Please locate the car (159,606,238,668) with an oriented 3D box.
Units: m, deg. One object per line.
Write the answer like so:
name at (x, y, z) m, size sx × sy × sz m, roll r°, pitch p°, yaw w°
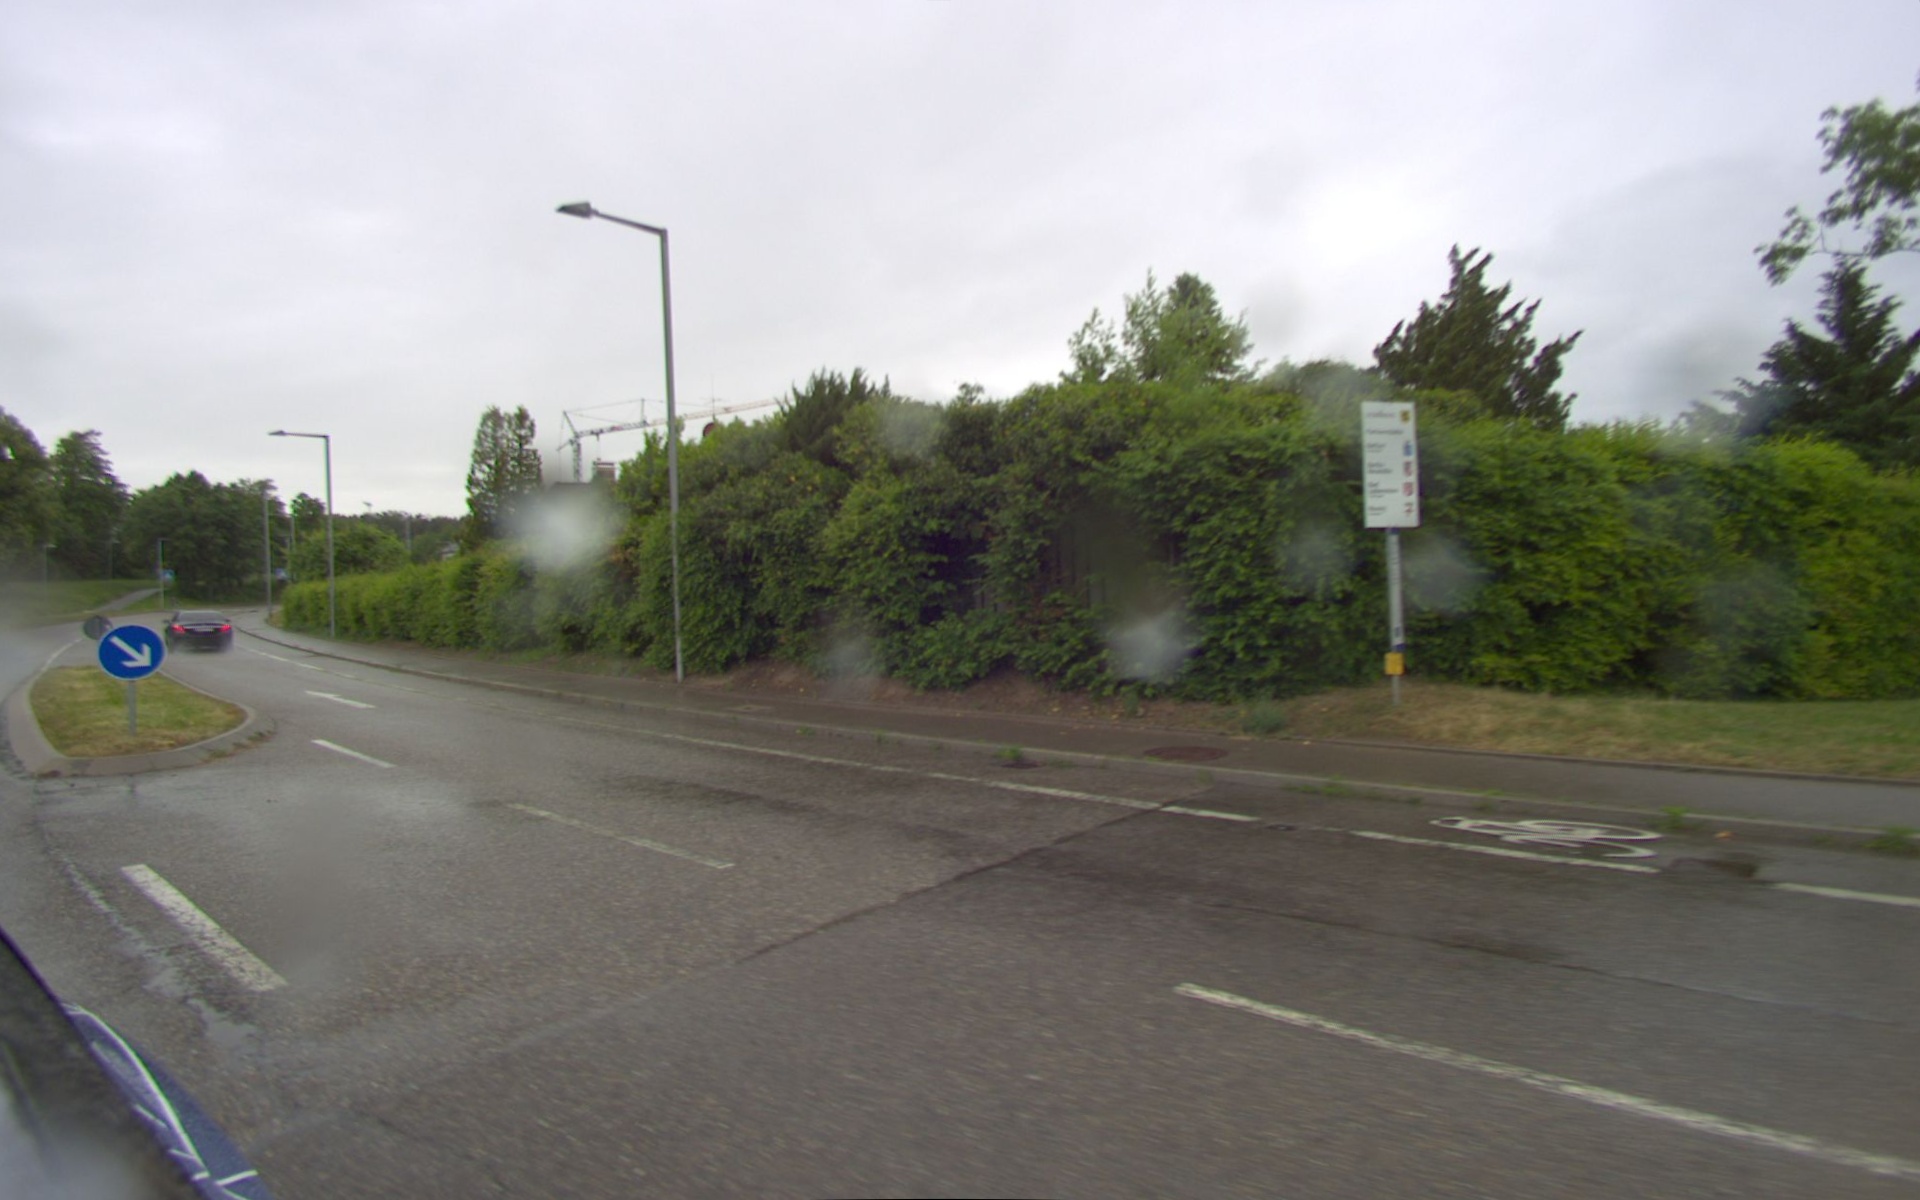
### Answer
car at (-27.156, 1.286, 36.060) m, size 1.938 × 2.029 × 4.006 m, roll -2°, pitch 0°, yaw -41°
